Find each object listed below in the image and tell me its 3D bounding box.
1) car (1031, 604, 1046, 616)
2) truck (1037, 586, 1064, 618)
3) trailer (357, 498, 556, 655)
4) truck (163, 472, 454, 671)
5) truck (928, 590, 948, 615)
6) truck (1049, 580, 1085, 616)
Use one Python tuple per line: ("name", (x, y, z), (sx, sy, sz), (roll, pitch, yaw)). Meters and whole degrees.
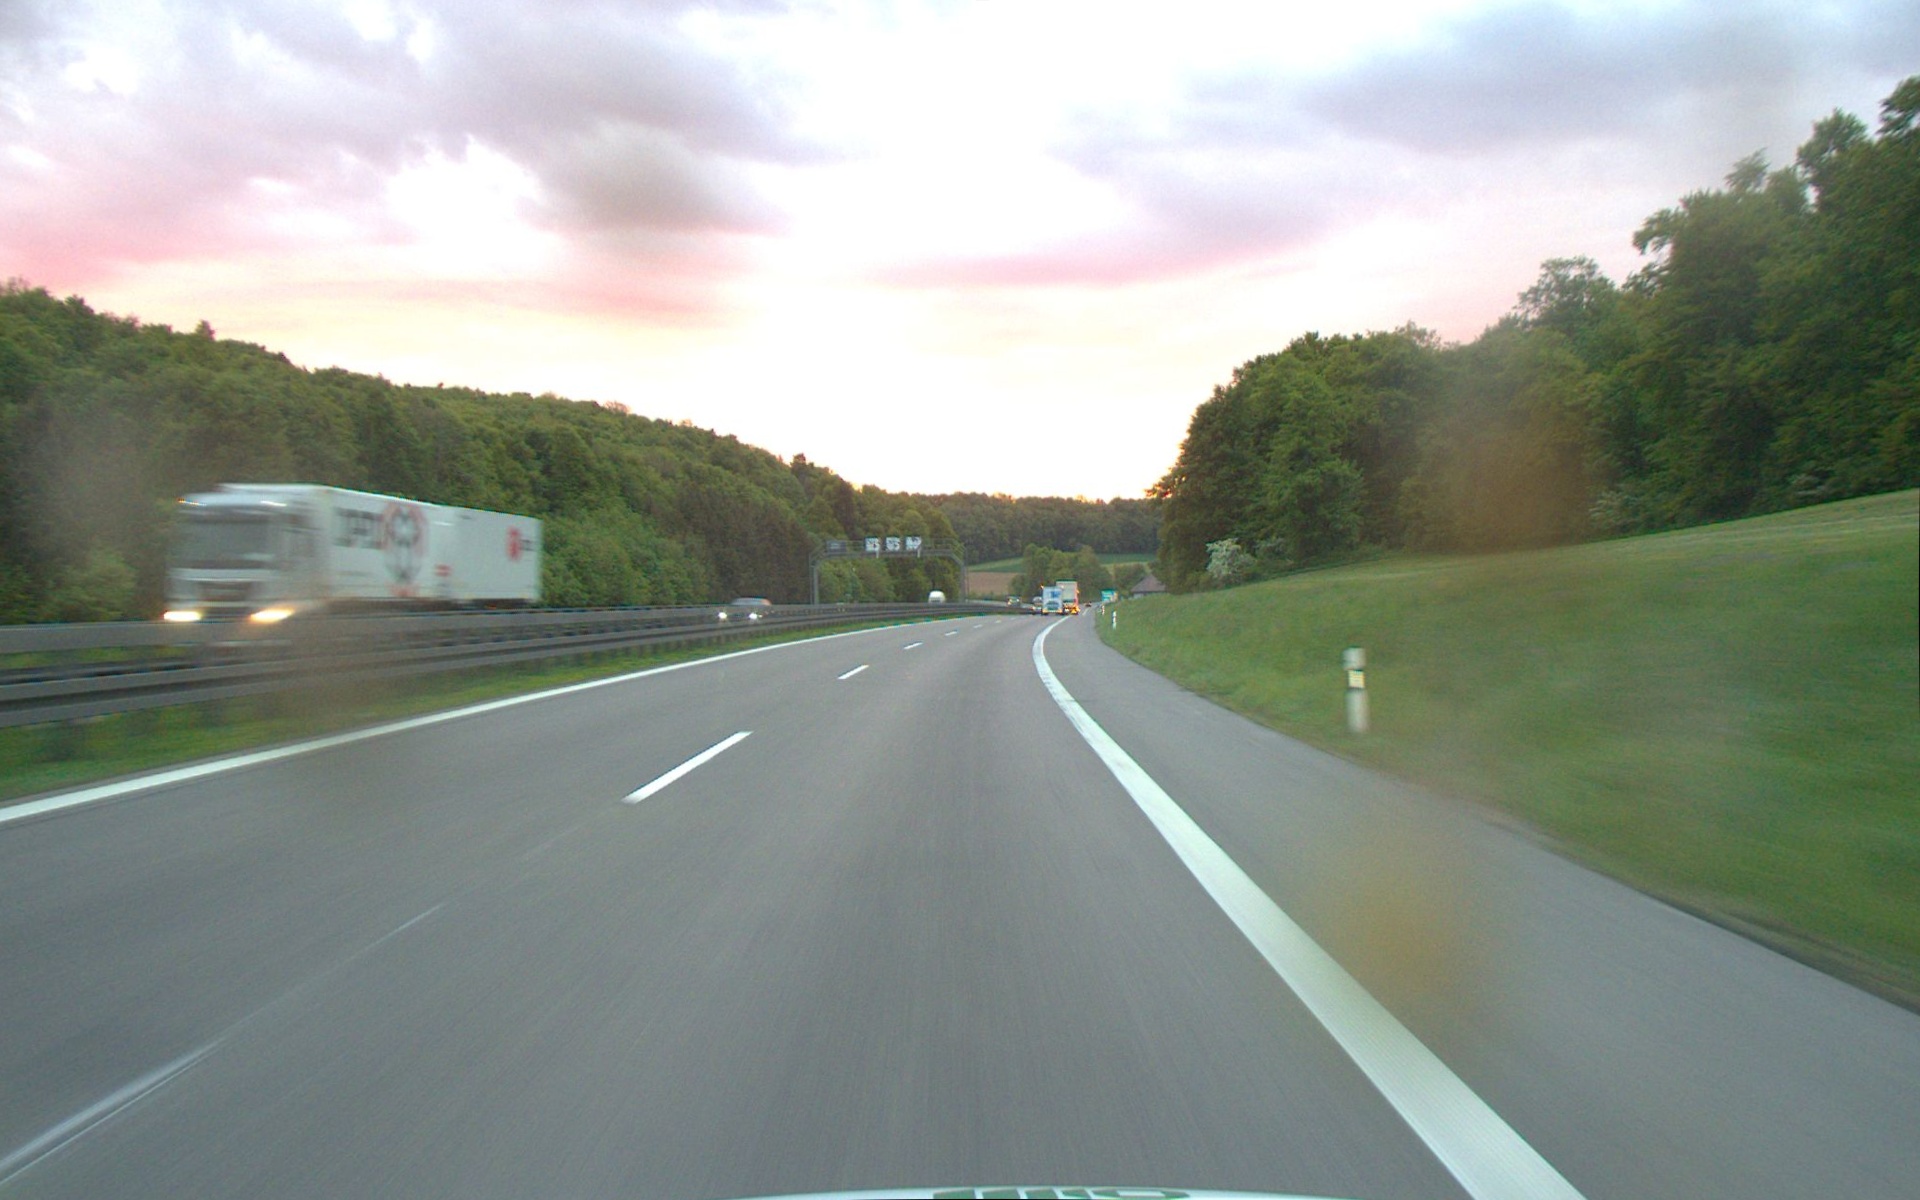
("car", (10.736, 1.414, 225.306), (1.952, 1.544, 4.002), (-1, 1, 3))
("truck", (8.479, 0.157, 154.704), (2.228, 2.711, 5.241), (-1, 2, 6))
("trailer", (-15.279, -0.675, 51.116), (2.772, 4.392, 9.297), (0, 0, 4))
("truck", (-15.859, -0.640, 41.384), (2.805, 4.356, 10.070), (0, 0, 3))
("truck", (-2.733, 0.325, 205.569), (1.951, 3.121, 5.597), (0, 0, 5))
("truck", (13.510, -0.324, 208.184), (3.874, 4.361, 14.334), (-1, 1, 6))
